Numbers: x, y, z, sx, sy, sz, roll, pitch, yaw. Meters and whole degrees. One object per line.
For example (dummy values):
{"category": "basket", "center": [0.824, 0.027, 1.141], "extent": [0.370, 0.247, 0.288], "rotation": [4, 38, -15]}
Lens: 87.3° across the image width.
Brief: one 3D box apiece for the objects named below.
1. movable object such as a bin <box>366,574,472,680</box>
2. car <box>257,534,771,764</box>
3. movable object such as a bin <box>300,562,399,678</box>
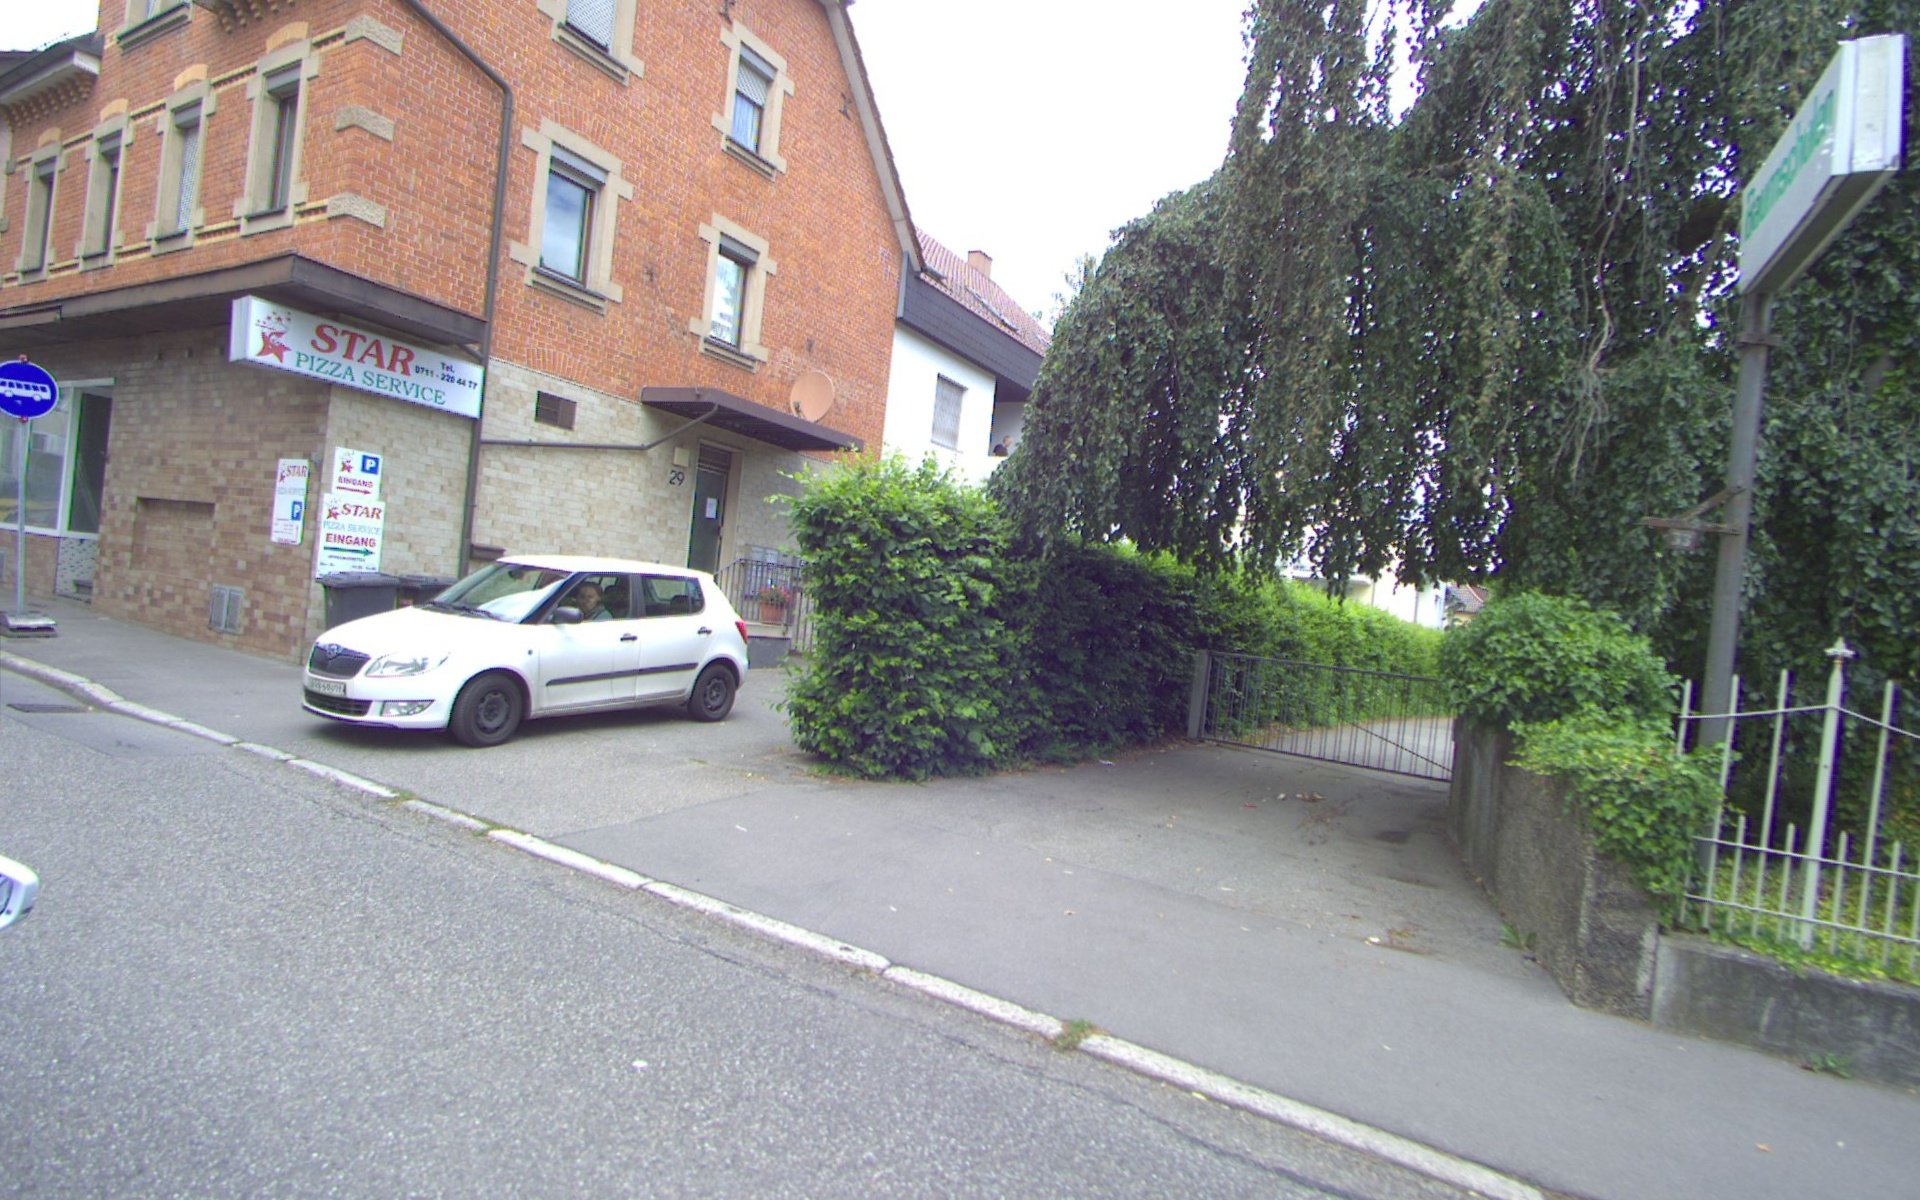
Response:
{"category": "movable object such as a bin", "center": [-5.956, 0.297, 11.082], "extent": [0.711, 1.073, 0.699], "rotation": [6, 1, 31]}
{"category": "car", "center": [-3.653, 0.324, 9.004], "extent": [1.574, 1.490, 4.029], "rotation": [6, 3, 29]}
{"category": "movable object such as a bin", "center": [-6.300, 0.204, 10.391], "extent": [0.612, 1.115, 0.607], "rotation": [6, 2, 31]}
